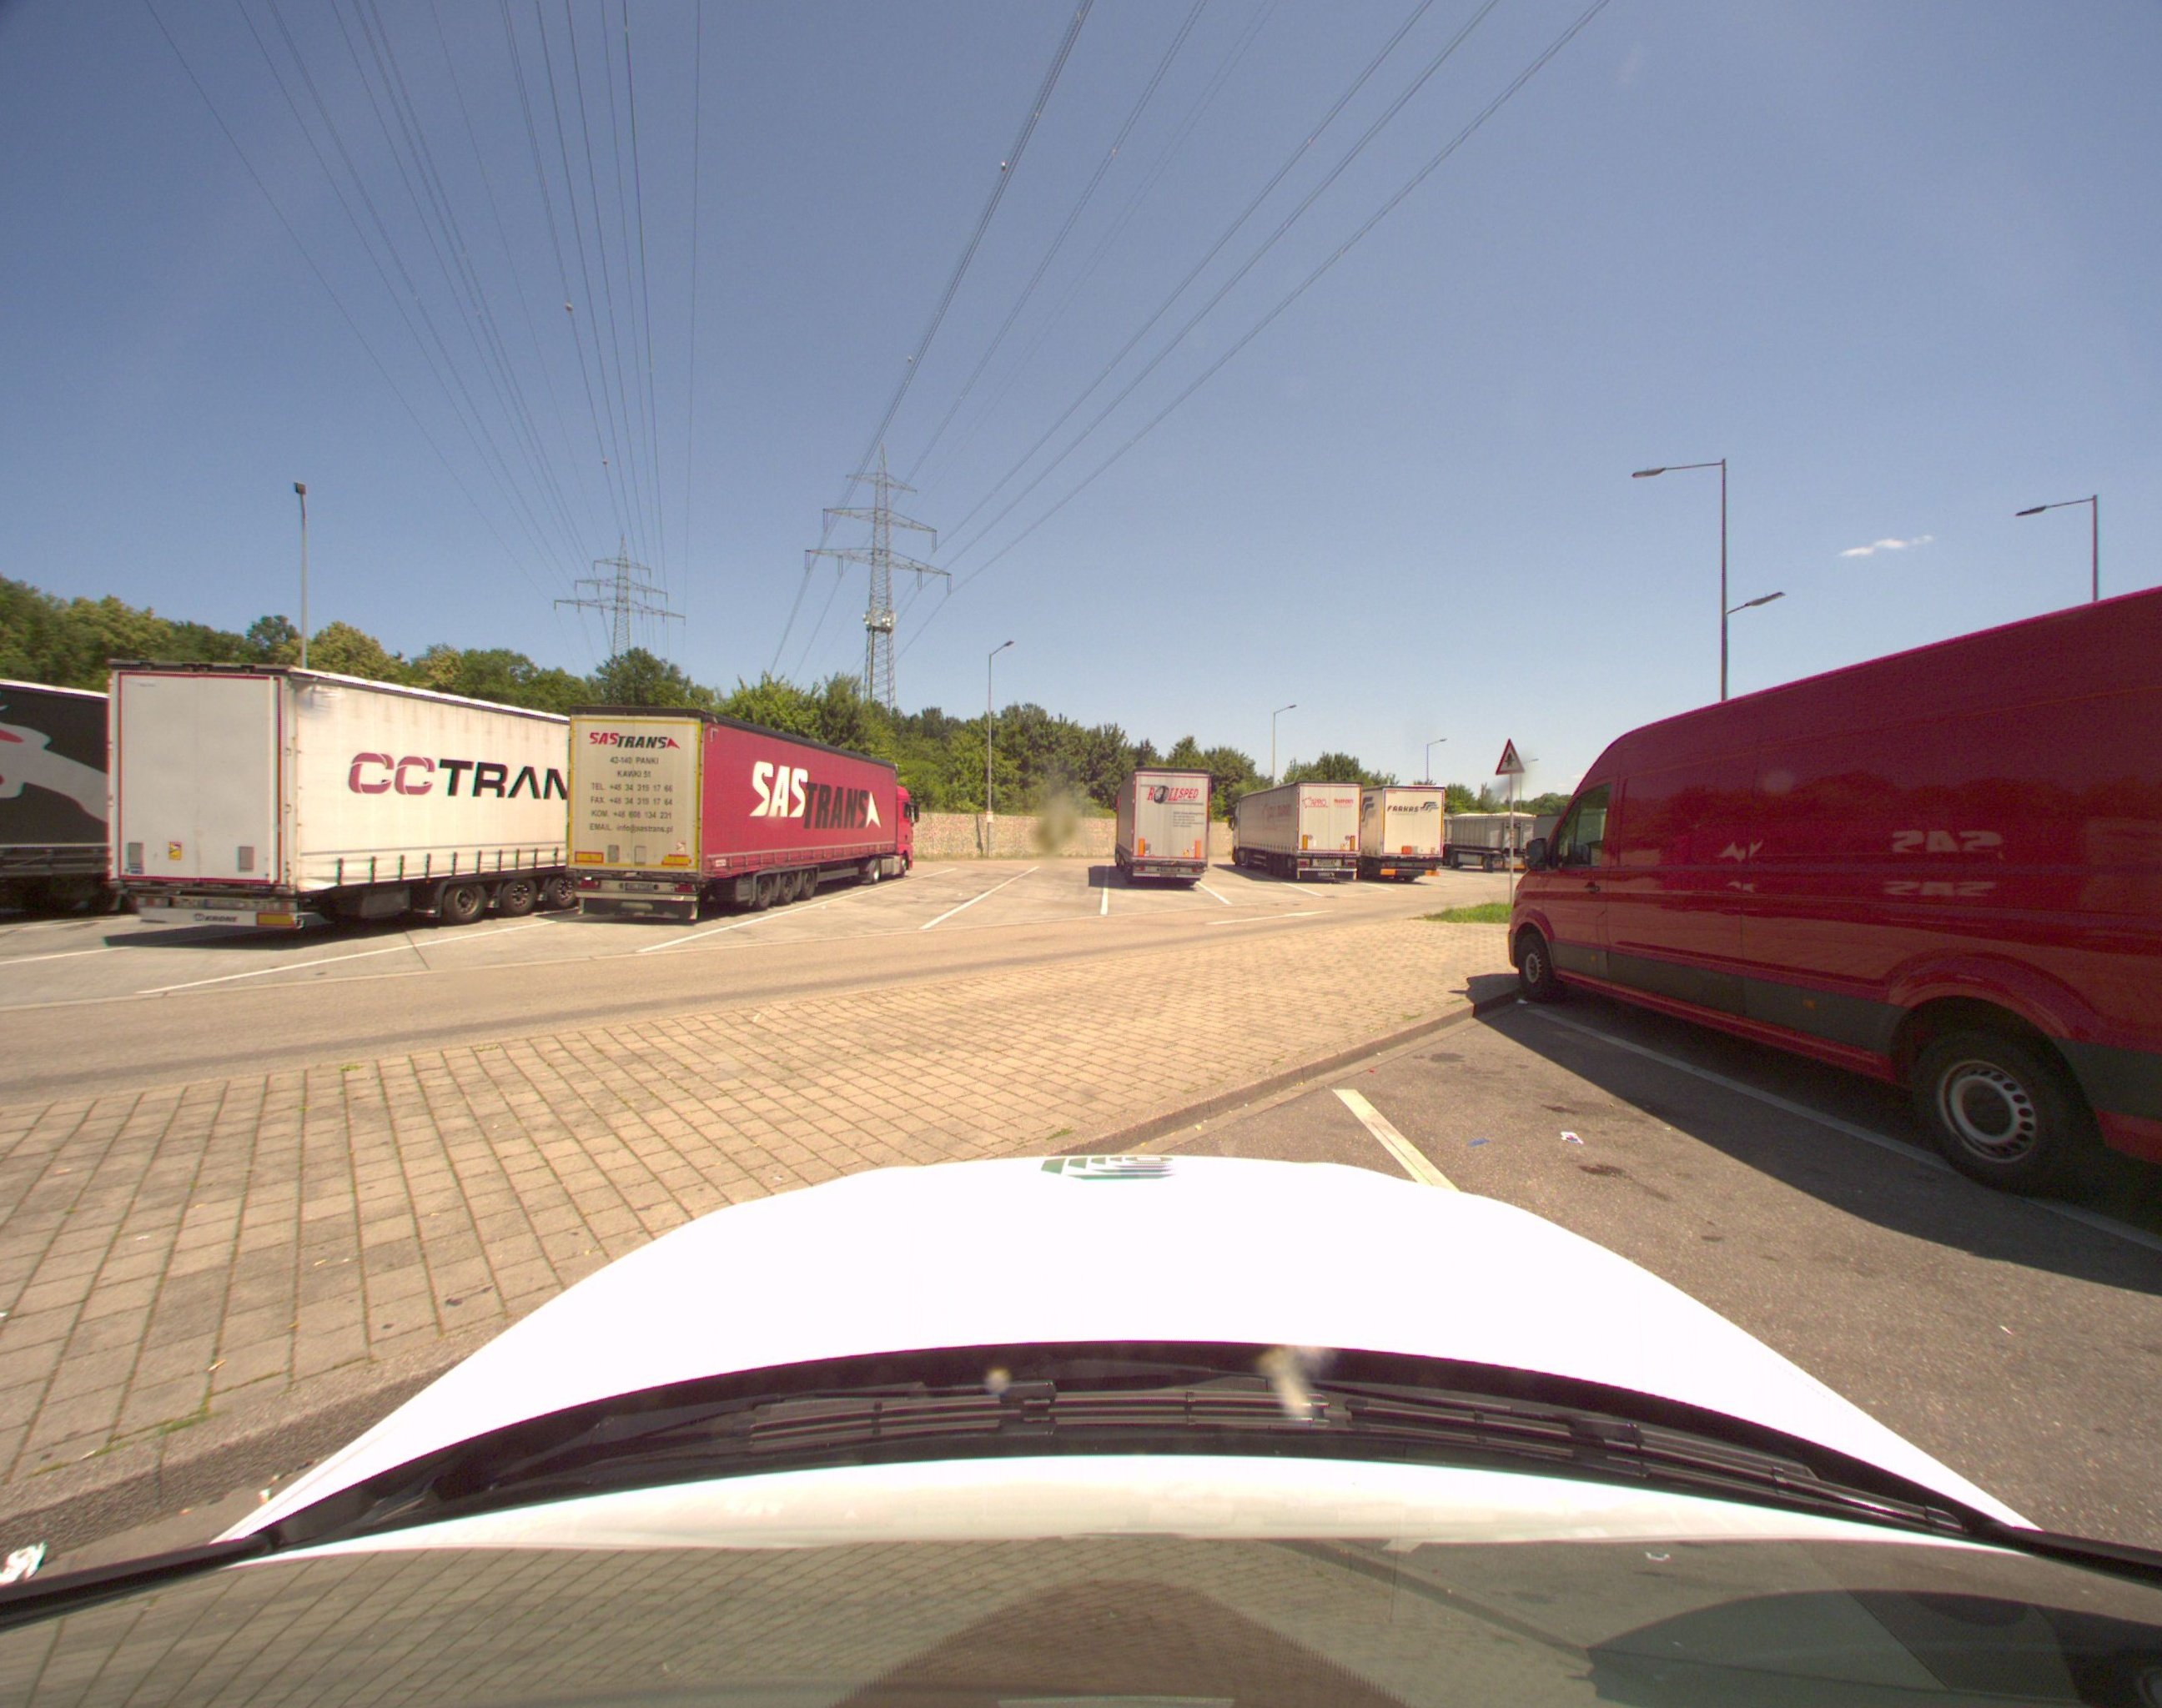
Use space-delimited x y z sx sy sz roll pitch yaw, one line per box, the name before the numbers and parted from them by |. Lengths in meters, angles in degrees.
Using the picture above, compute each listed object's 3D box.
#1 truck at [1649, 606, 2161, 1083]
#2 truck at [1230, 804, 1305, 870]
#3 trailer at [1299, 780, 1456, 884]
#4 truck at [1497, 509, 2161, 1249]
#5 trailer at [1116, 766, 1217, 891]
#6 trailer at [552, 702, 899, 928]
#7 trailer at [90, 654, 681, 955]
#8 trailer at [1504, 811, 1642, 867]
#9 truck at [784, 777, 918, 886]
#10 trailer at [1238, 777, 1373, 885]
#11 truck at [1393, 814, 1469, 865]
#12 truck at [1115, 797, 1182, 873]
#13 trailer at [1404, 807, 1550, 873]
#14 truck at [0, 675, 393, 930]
truck | 8.007 -0.064 6.904 2.406 2.906 6.466 -1 0 6
truck | 10.181 -0.972 45.082 2.855 3.362 5.977 1 2 2
trailer | 13.612 -1.088 39.243 2.847 4.109 13.770 1 2 2
truck | 5.148 0.086 5.471 2.001 2.651 6.466 -1 0 6
trailer | 3.052 -1.044 33.227 2.848 3.971 13.767 1 2 1
trailer | -8.042 -0.925 21.744 2.811 4.070 13.770 1 2 2
trailer | -12.156 -0.840 16.439 2.696 4.101 10.395 1 2 2
trailer | 38.222 -1.285 64.201 2.847 3.904 13.770 1 2 2
truck | -7.828 -0.792 28.560 2.801 3.362 5.977 1 2 2
trailer | 9.984 -1.114 38.318 2.847 4.109 13.770 1 2 2
truck | 24.628 -1.074 57.616 2.855 3.362 5.977 1 2 2
truck | 3.142 -0.935 39.429 2.855 3.362 5.977 1 2 2
trailer | 24.443 -0.986 51.519 2.847 3.599 13.770 1 2 2
truck | -18.544 -0.938 15.846 2.696 4.070 8.694 1 2 2
